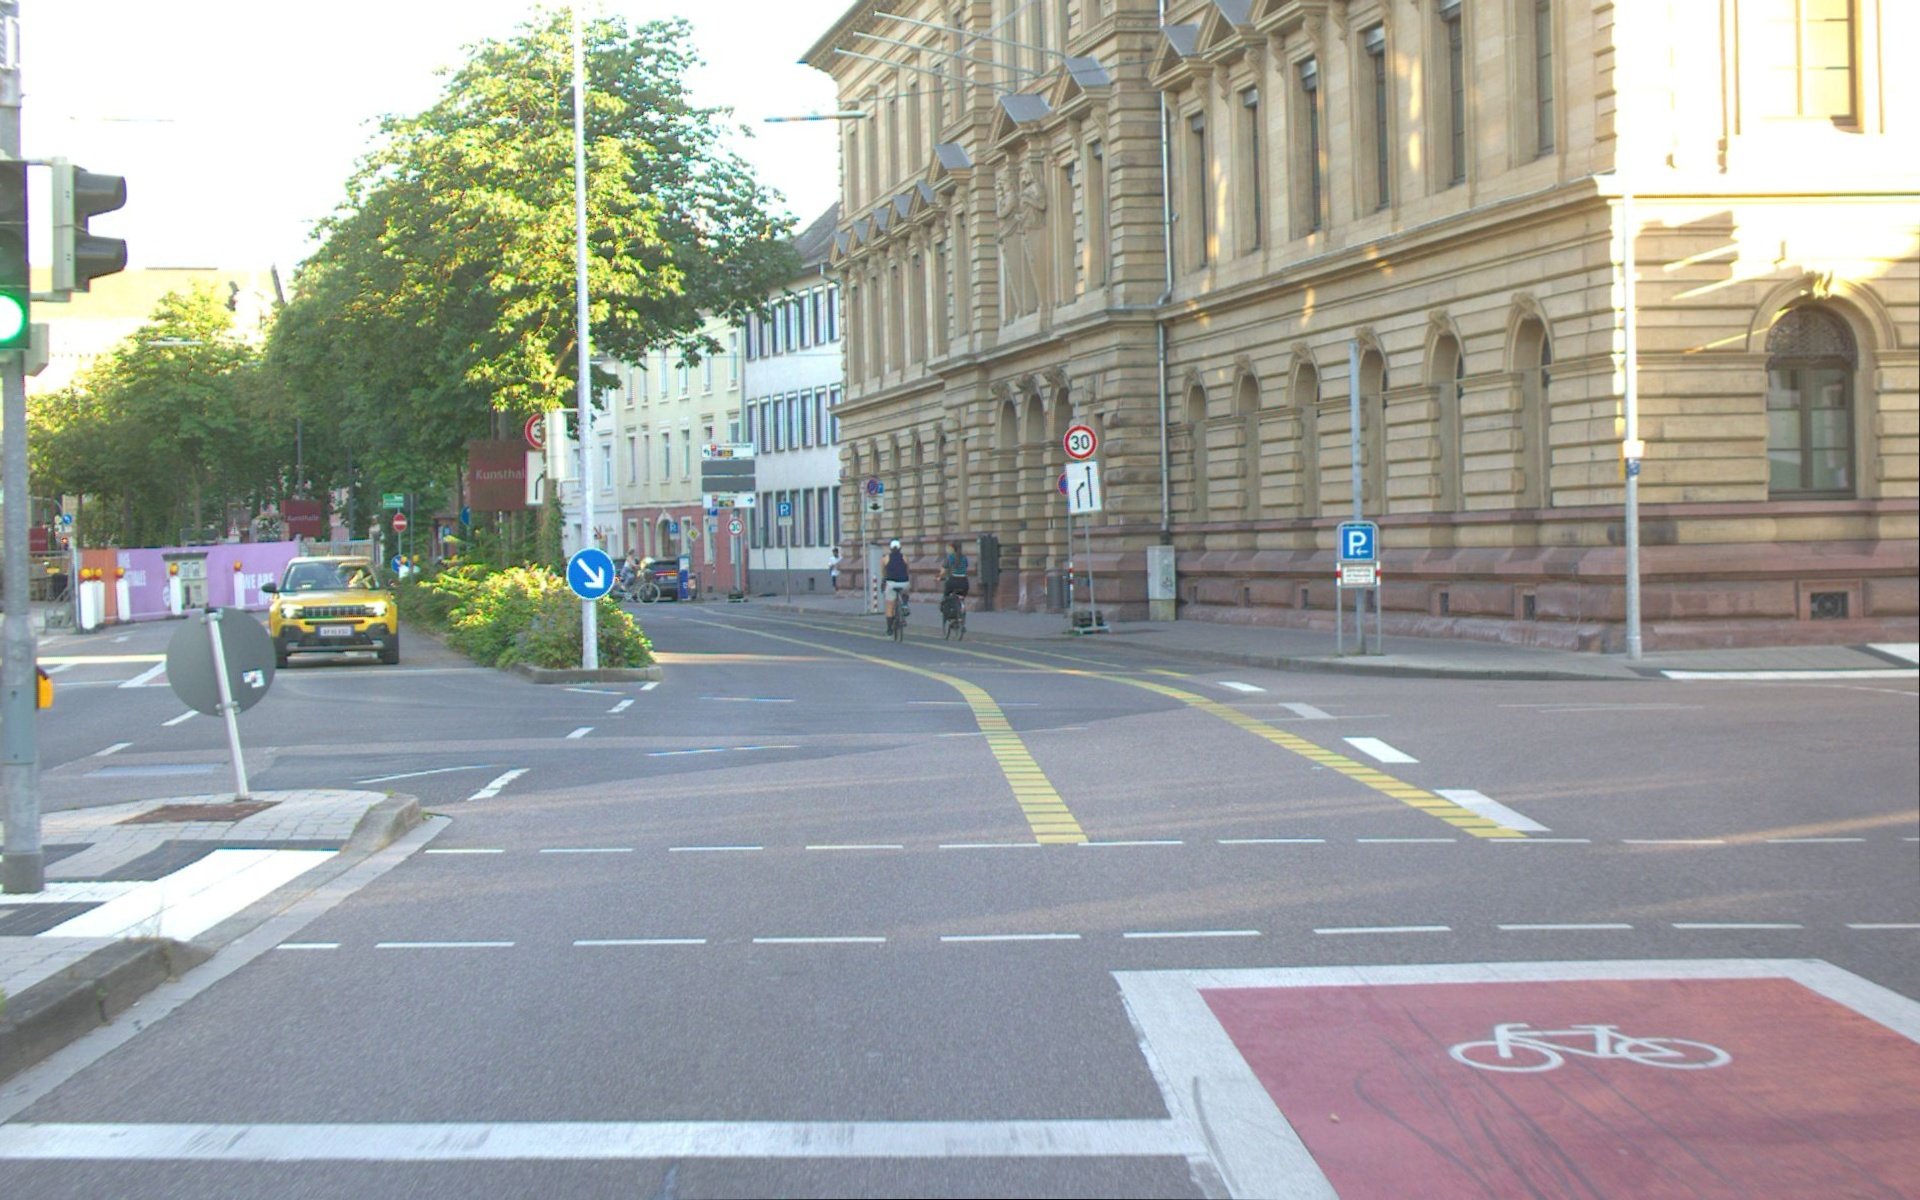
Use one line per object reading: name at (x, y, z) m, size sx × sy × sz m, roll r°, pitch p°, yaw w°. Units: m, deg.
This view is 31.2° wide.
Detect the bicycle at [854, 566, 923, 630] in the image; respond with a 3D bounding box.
bicycle at (-1.225, -0.042, 58.483) m, size 0.669 × 1.067 × 1.902 m, roll 0°, pitch 0°, yaw -17°

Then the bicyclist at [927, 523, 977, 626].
bicyclist at (-0.140, -0.446, 59.384) m, size 0.649 × 1.754 × 0.864 m, roll 1°, pitch 1°, yaw -15°

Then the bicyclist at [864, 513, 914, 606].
bicyclist at (-1.208, -0.692, 58.449) m, size 0.668 × 1.560 × 0.699 m, roll 1°, pitch 0°, yaw -17°

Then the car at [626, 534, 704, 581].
car at (-10.688, -1.535, 124.404) m, size 1.812 × 1.676 × 3.920 m, roll -1°, pitch 1°, yaw -20°

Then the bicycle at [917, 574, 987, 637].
bicycle at (-0.149, 0.088, 59.339) m, size 0.652 × 1.067 × 2.259 m, roll 1°, pitch 0°, yaw -15°

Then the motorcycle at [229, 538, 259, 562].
motorcycle at (-38.690, -2.683, 185.730) m, size 1.041 × 1.244 × 2.398 m, roll -1°, pitch 1°, yaw -26°

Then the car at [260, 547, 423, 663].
car at (-8.795, 0.035, 49.148) m, size 1.845 × 1.542 × 4.119 m, roll -2°, pitch 1°, yaw -4°

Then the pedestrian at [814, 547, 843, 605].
pedestrian at (-4.041, -0.733, 105.526) m, size 0.816 × 1.759 × 1.038 m, roll 0°, pitch 1°, yaw -6°
